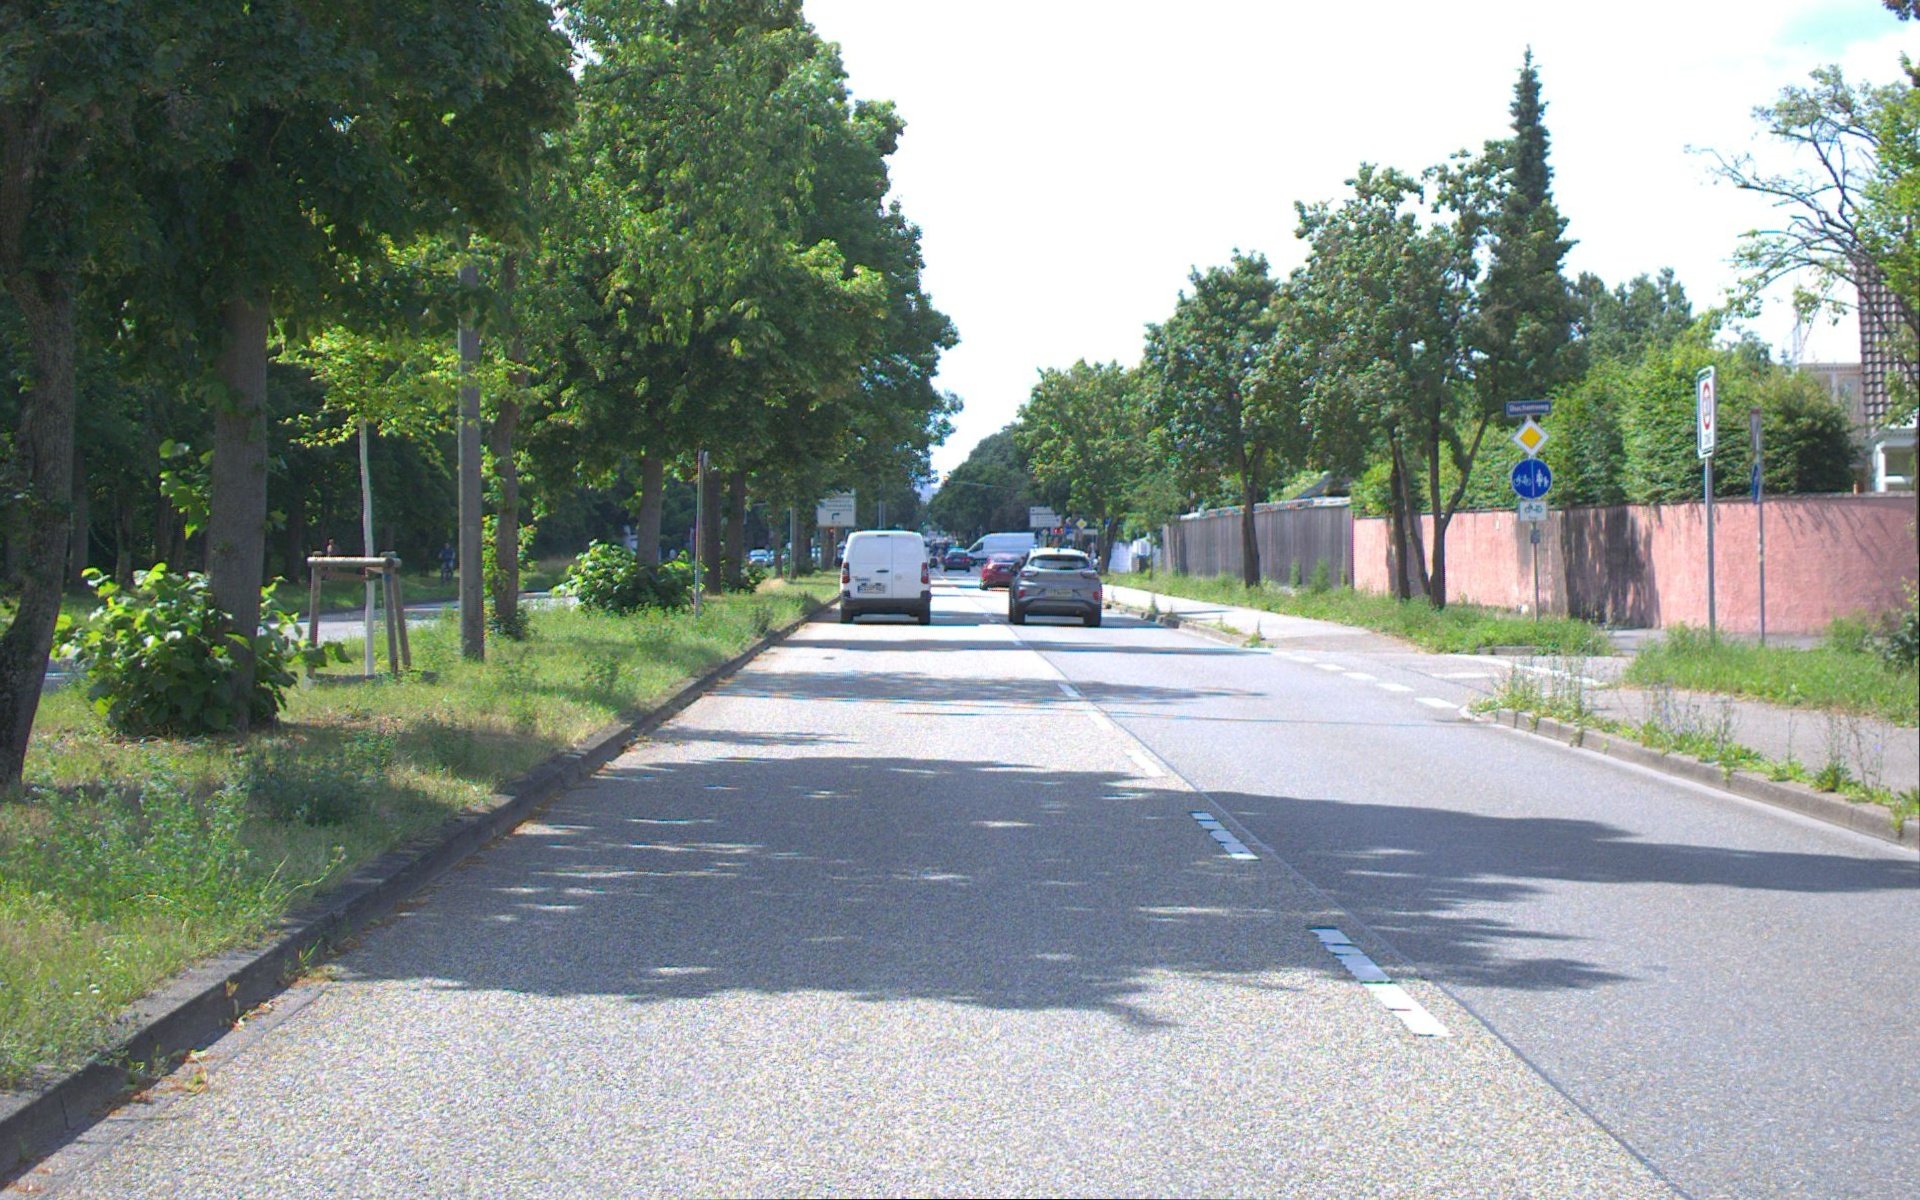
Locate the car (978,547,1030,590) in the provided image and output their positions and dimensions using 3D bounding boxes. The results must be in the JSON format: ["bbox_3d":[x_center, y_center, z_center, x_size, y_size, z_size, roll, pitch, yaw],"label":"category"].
[{"bbox_3d":[1.688,-1.222,132.166,1.880,1.581,4.000,0,1,-1],"label":"car"}]

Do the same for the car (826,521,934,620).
[{"bbox_3d":[-1.565,-0.617,68.713,2.066,1.905,4.647,0,1,-1],"label":"car"}]

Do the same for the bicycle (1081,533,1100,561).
[{"bbox_3d":[5.234,-2.125,137.930,0.646,1.064,2.278,-2,1,0],"label":"bicycle"}]

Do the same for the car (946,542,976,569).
[{"bbox_3d":[0.056,-3.144,241.990,1.993,1.766,4.147,2,1,-1],"label":"car"}]

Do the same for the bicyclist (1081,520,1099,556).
[{"bbox_3d":[5.214,-2.487,137.911,0.654,1.407,0.986,-2,1,0],"label":"bicyclist"}]

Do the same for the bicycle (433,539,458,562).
[{"bbox_3d":[-20.038,-1.916,133.812,0.618,0.875,1.915,1,1,2],"label":"bicycle"}]

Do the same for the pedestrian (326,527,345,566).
[{"bbox_3d":[-26.294,-2.261,144.790,0.644,1.624,0.656,2,1,0],"label":"pedestrian"}]

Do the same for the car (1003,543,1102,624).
[{"bbox_3d":[1.845,-0.351,69.698,1.875,1.583,4.185,0,1,0],"label":"car"}]
